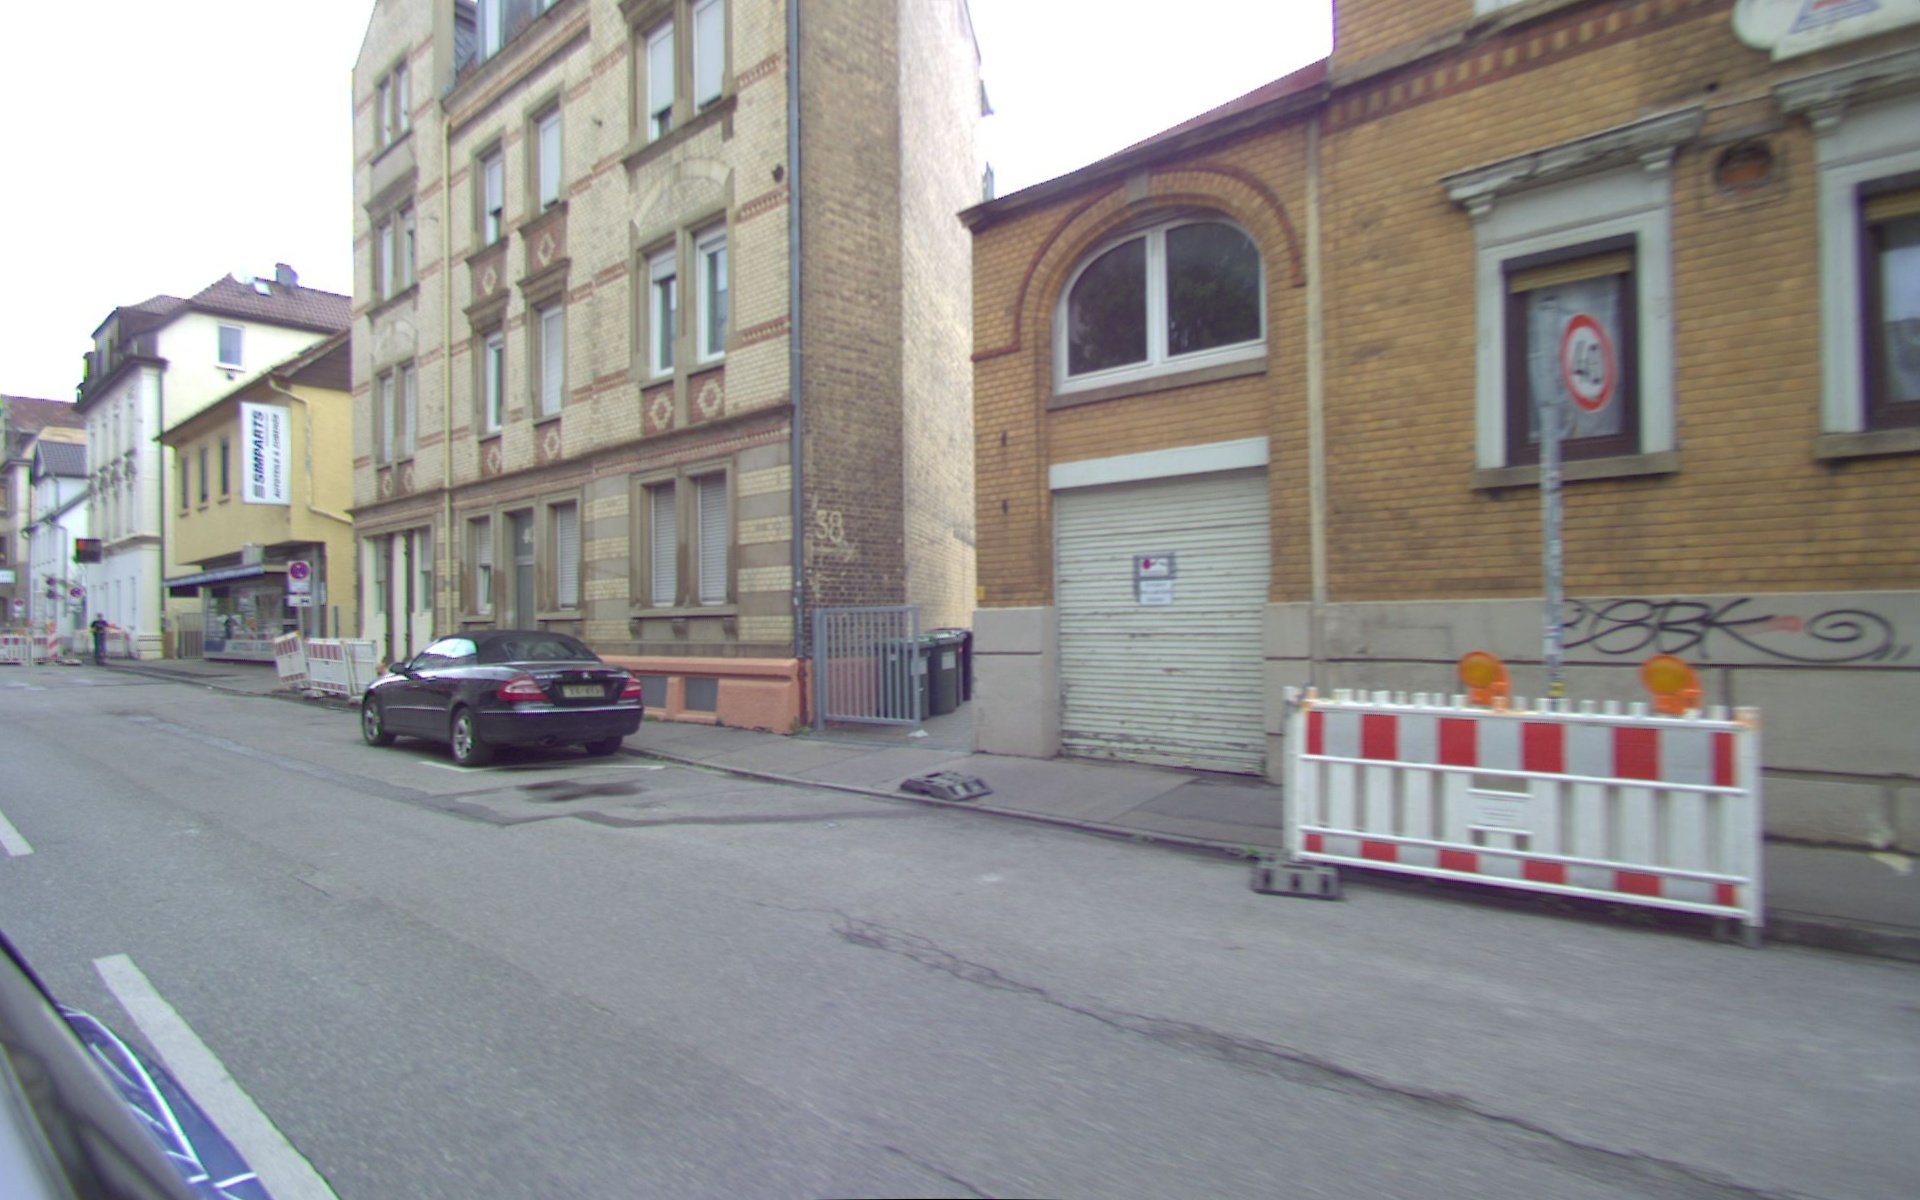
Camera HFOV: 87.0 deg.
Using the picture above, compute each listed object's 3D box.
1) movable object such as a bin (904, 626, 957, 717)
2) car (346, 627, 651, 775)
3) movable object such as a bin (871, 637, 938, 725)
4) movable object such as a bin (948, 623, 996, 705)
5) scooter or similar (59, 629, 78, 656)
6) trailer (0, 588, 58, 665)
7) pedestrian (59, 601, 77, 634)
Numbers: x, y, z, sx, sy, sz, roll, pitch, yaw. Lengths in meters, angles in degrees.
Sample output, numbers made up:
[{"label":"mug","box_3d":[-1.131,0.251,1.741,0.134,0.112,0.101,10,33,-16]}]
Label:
[{"label":"movable object such as a bin","box_3d":[-0.385,0.925,13.218,0.515,1.148,0.508,-1,-1,27]},{"label":"car","box_3d":[-5.419,1.018,11.598,4.353,1.393,1.562,-1,-3,42]},{"label":"movable object such as a bin","box_3d":[-0.702,1.012,12.854,0.667,1.057,0.498,-1,0,41]},{"label":"movable object such as a bin","box_3d":[0.172,0.907,14.623,0.515,1.148,0.508,-1,-1,27]},{"label":"scooter or similar","box_3d":[-43.485,2.061,49.370,1.227,1.300,0.554,0,0,41]},{"label":"trailer","box_3d":[-37.116,1.030,39.340,6.303,2.825,2.418,-1,-3,43]},{"label":"pedestrian","box_3d":[-43.548,0.853,49.412,0.607,1.578,0.594,-1,0,41]}]
